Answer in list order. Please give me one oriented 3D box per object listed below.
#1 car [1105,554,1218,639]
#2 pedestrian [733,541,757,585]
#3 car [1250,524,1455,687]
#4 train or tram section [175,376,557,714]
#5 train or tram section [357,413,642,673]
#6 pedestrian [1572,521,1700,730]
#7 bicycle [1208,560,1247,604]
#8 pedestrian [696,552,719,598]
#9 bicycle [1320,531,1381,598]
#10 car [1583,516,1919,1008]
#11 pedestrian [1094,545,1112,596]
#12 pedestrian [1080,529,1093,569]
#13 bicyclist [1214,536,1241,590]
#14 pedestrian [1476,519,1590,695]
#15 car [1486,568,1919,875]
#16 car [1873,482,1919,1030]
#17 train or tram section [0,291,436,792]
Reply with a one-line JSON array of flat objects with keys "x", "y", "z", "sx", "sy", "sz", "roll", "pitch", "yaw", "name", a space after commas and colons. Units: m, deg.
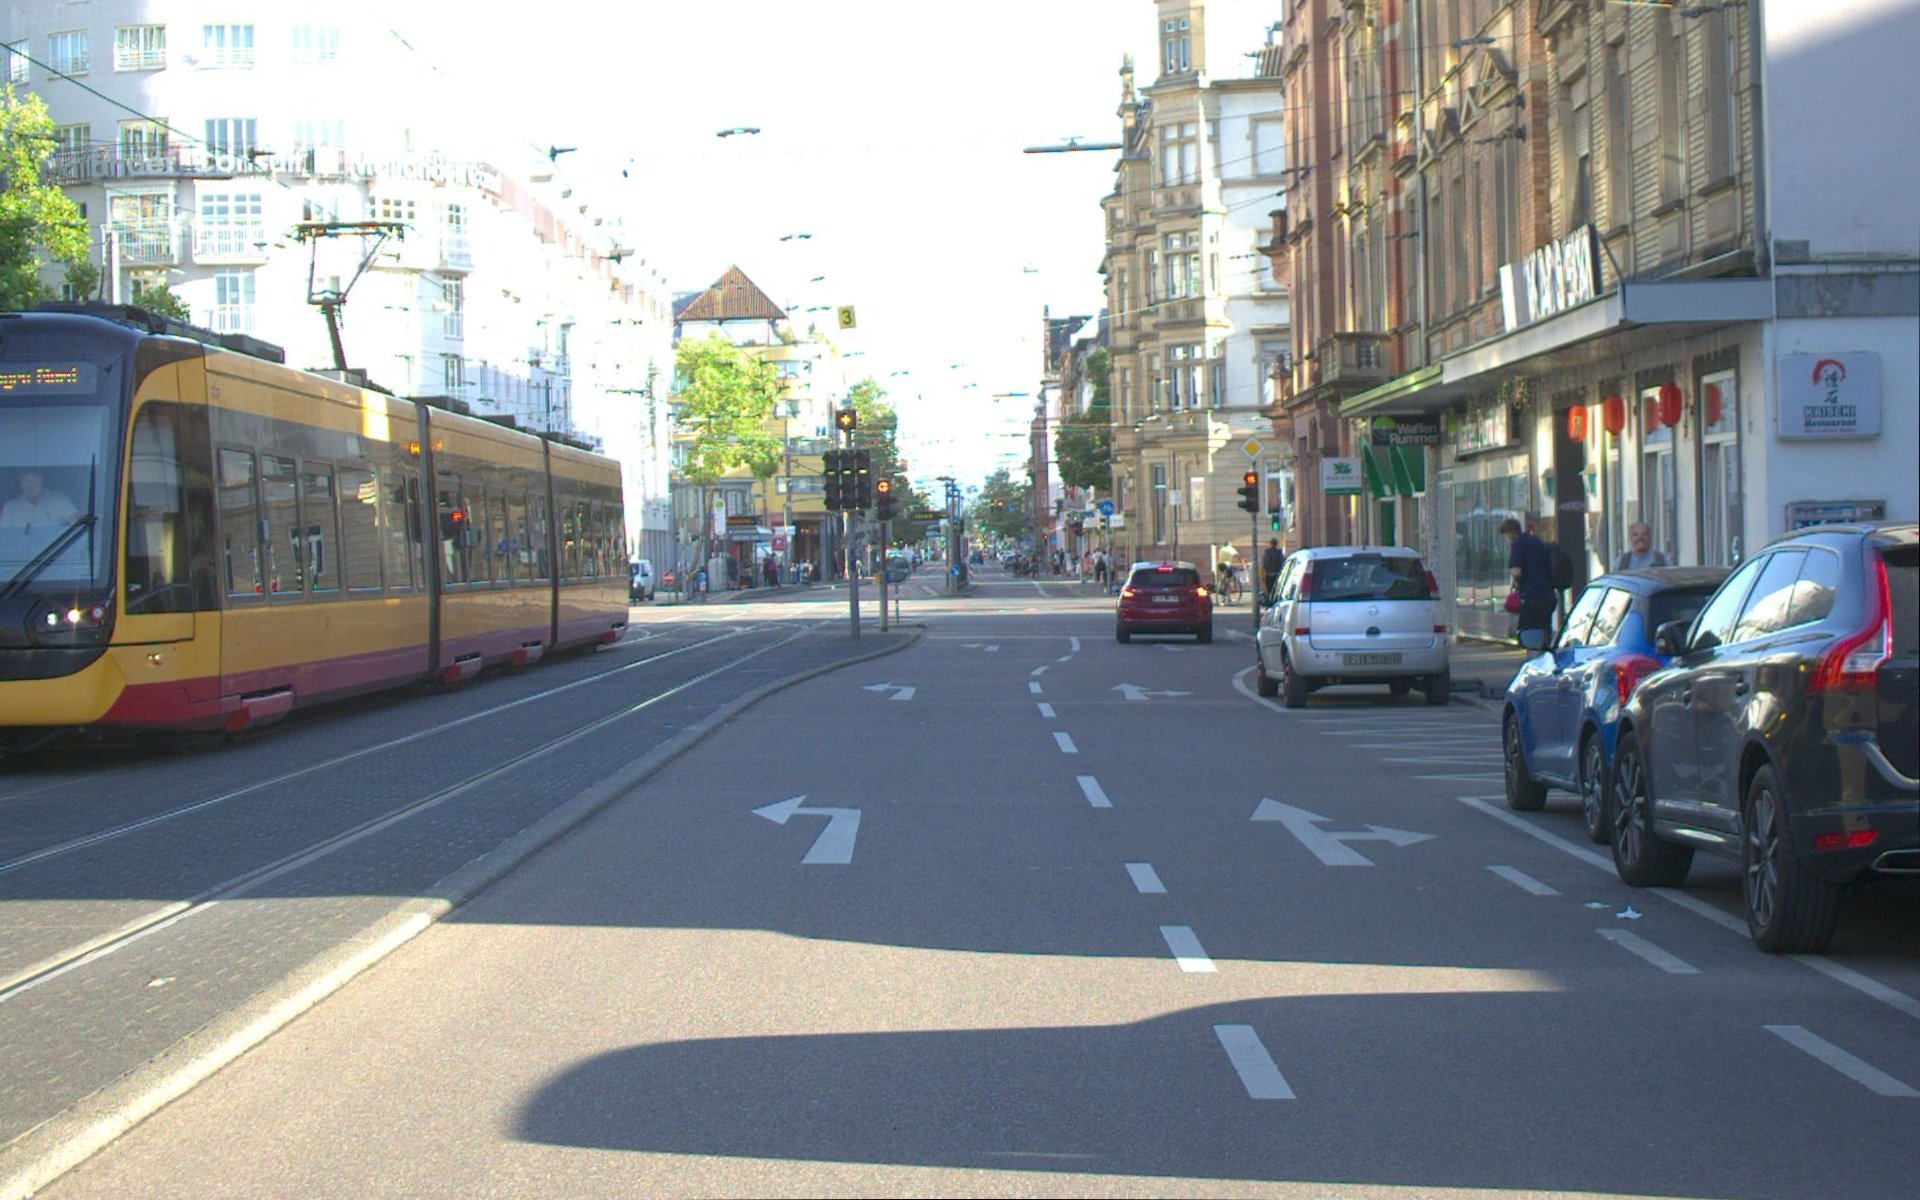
[{"x": 3.662, "y": -0.086, "z": 62.878, "sx": 1.754, "sy": 1.461, "sz": 3.946, "roll": 0, "pitch": 1, "yaw": -1, "name": "car"}, {"x": -9.944, "y": -1.706, "z": 158.894, "sx": 0.956, "sy": 2.007, "sz": 1.049, "roll": -2, "pitch": 1, "yaw": 1, "name": "pedestrian"}, {"x": 4.106, "y": 0.014, "z": 36.467, "sx": 1.637, "sy": 1.609, "sz": 3.946, "roll": -1, "pitch": 1, "yaw": -1, "name": "car"}, {"x": -7.048, "y": -0.694, "z": 42.598, "sx": 2.675, "sy": 3.538, "sz": 11.127, "roll": -2, "pitch": 1, "yaw": 0, "name": "train or tram section"}, {"x": -7.048, "y": -0.924, "z": 54.612, "sx": 2.675, "sy": 3.538, "sz": 12.842, "roll": -2, "pitch": 1, "yaw": 0, "name": "train or tram section"}, {"x": 5.849, "y": 0.212, "z": 29.795, "sx": 0.787, "sy": 1.732, "sz": 0.946, "roll": -4, "pitch": 0, "yaw": 0, "name": "pedestrian"}, {"x": 7.096, "y": -0.484, "z": 91.189, "sx": 0.421, "sy": 1.092, "sz": 1.411, "roll": -2, "pitch": 1, "yaw": 31, "name": "bicycle"}, {"x": -9.602, "y": -0.969, "z": 130.956, "sx": 0.768, "sy": 1.724, "sz": 0.572, "roll": -1, "pitch": 1, "yaw": 3, "name": "pedestrian"}, {"x": 7.295, "y": -0.669, "z": 64.200, "sx": 0.716, "sy": 1.148, "sz": 1.653, "roll": -3, "pitch": 1, "yaw": 19, "name": "bicycle"}, {"x": 3.953, "y": 0.525, "z": 14.518, "sx": 1.820, "sy": 1.751, "sz": 4.475, "roll": 0, "pitch": 1, "yaw": 0, "name": "car"}, {"x": 5.758, "y": -1.186, "z": 138.511, "sx": 0.651, "sy": 2.007, "sz": 0.760, "roll": -2, "pitch": 1, "yaw": 0, "name": "pedestrian"}, {"x": 6.382, "y": -2.580, "z": 173.278, "sx": 0.577, "sy": 2.007, "sz": 0.630, "roll": -1, "pitch": 1, "yaw": 7, "name": "pedestrian"}, {"x": 7.107, "y": -0.990, "z": 91.226, "sx": 0.421, "sy": 1.404, "sz": 0.658, "roll": -1, "pitch": 1, "yaw": 31, "name": "bicyclist"}, {"x": 6.028, "y": 0.059, "z": 36.207, "sx": 0.946, "sy": 1.786, "sz": 1.055, "roll": -3, "pitch": 1, "yaw": 0, "name": "pedestrian"}, {"x": 4.182, "y": 0.619, "z": 19.788, "sx": 1.637, "sy": 1.487, "sz": 3.795, "roll": 1, "pitch": 2, "yaw": -1, "name": "car"}, {"x": 4.002, "y": 0.528, "z": 9.714, "sx": 1.675, "sy": 1.802, "sz": 4.249, "roll": 0, "pitch": 1, "yaw": 0, "name": "car"}, {"x": -7.093, "y": -0.506, "z": 30.779, "sx": 2.758, "sy": 3.538, "sz": 12.468, "roll": -2, "pitch": 1, "yaw": 0, "name": "train or tram section"}]
